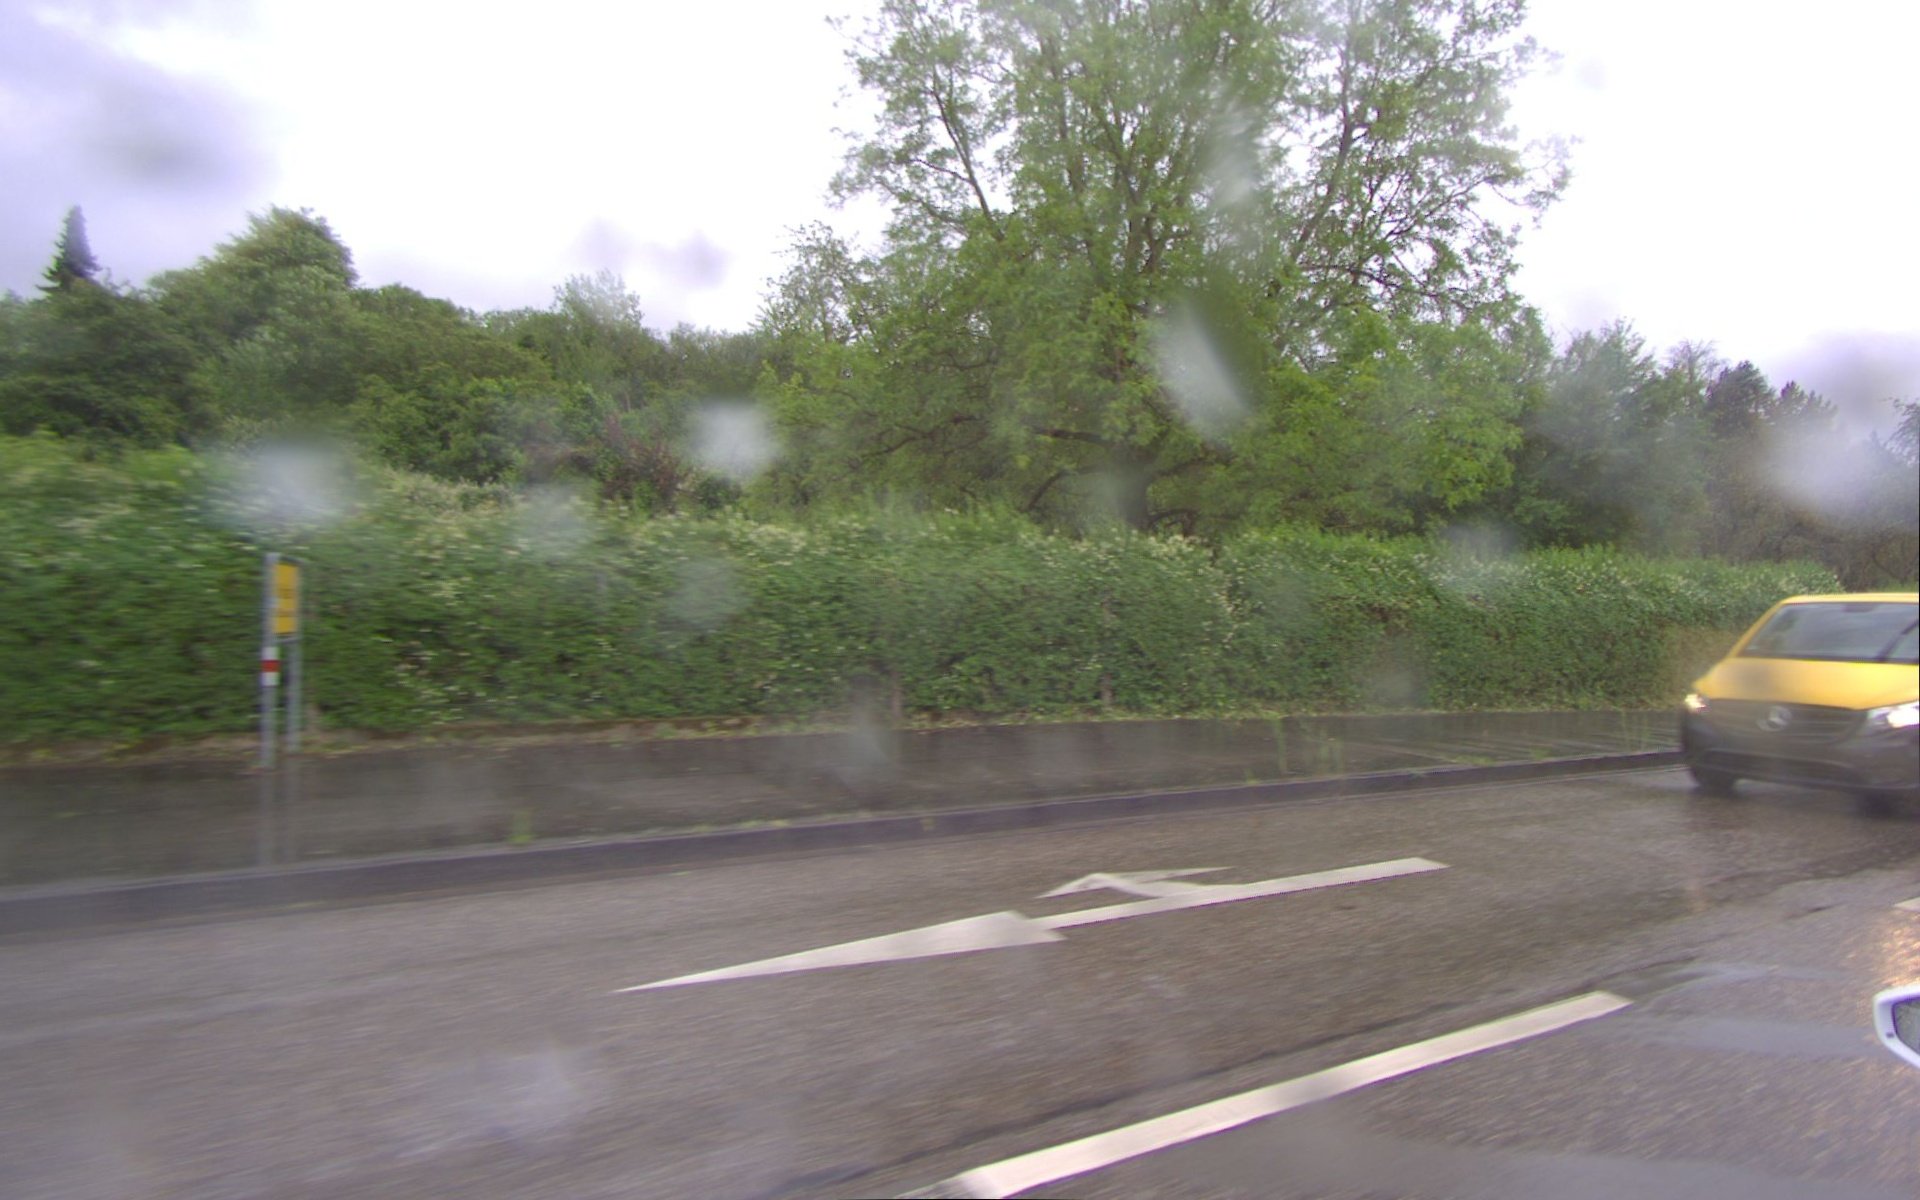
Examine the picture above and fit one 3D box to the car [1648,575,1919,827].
[{"bbox_3d":[8.981,0.830,9.595,4.973,1.896,1.930,1,-2,-28],"label":"car"}]
